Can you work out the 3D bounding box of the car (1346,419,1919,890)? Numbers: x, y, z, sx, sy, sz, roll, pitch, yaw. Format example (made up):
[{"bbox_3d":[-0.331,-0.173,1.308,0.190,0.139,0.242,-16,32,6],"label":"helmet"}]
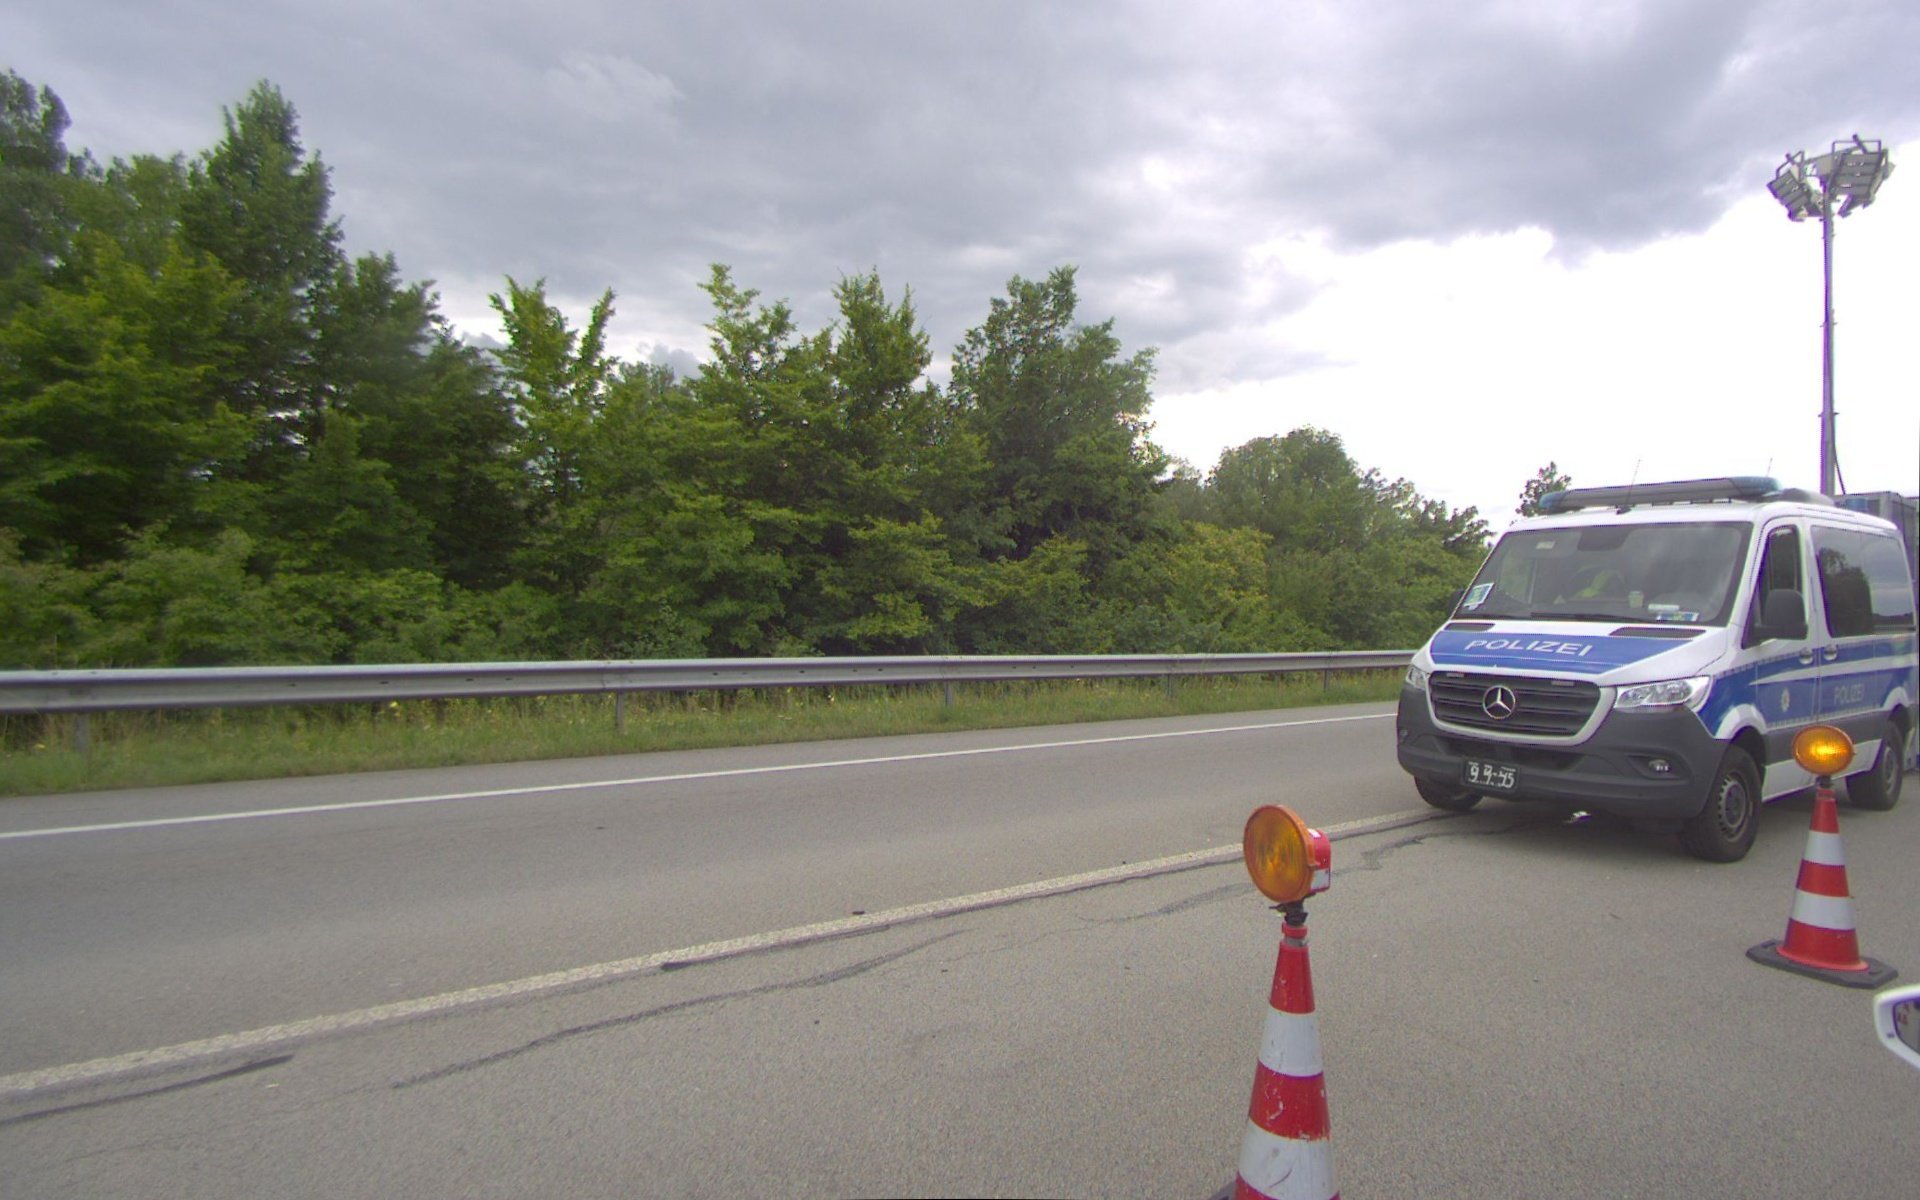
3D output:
[{"bbox_3d":[5.414,0.330,7.672,5.226,2.496,2.016,1,0,-35],"label":"car"}]
